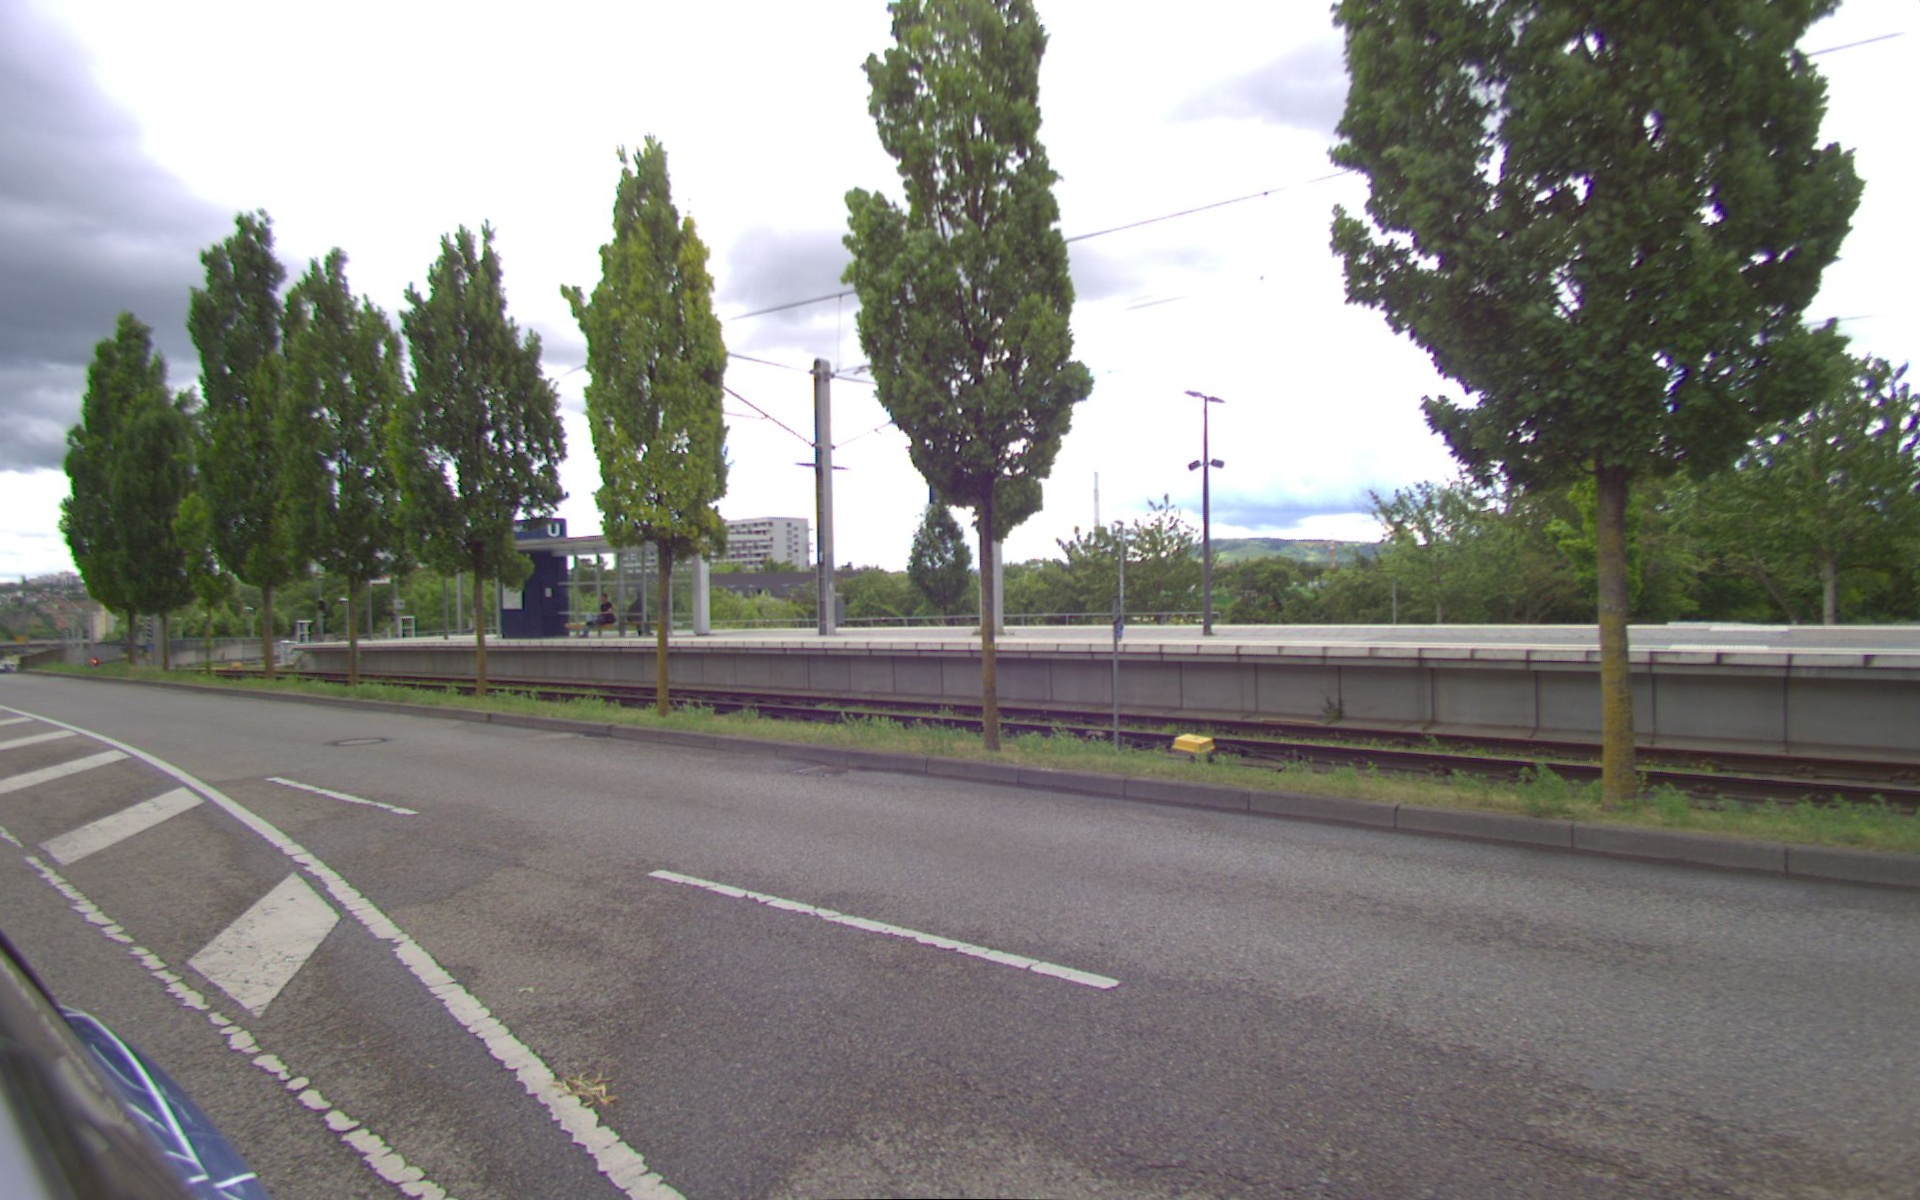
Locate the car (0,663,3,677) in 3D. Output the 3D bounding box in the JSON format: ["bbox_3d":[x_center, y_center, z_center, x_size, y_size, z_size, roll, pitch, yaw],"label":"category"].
[{"bbox_3d":[-107.131,7.806,112.065,1.696,1.533,3.747,0,-3,-44],"label":"car"}]

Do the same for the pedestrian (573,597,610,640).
[{"bbox_3d":[-10.505,0.529,28.816,0.665,1.208,0.753,-2,-2,40],"label":"pedestrian"}]

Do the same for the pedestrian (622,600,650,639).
[{"bbox_3d":[-9.222,0.557,28.818,0.470,1.087,0.601,-4,-3,40],"label":"pedestrian"}]

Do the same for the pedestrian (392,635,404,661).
[{"bbox_3d":[-35.539,3.031,63.953,0.501,1.637,0.646,0,-3,-45],"label":"pedestrian"}]
